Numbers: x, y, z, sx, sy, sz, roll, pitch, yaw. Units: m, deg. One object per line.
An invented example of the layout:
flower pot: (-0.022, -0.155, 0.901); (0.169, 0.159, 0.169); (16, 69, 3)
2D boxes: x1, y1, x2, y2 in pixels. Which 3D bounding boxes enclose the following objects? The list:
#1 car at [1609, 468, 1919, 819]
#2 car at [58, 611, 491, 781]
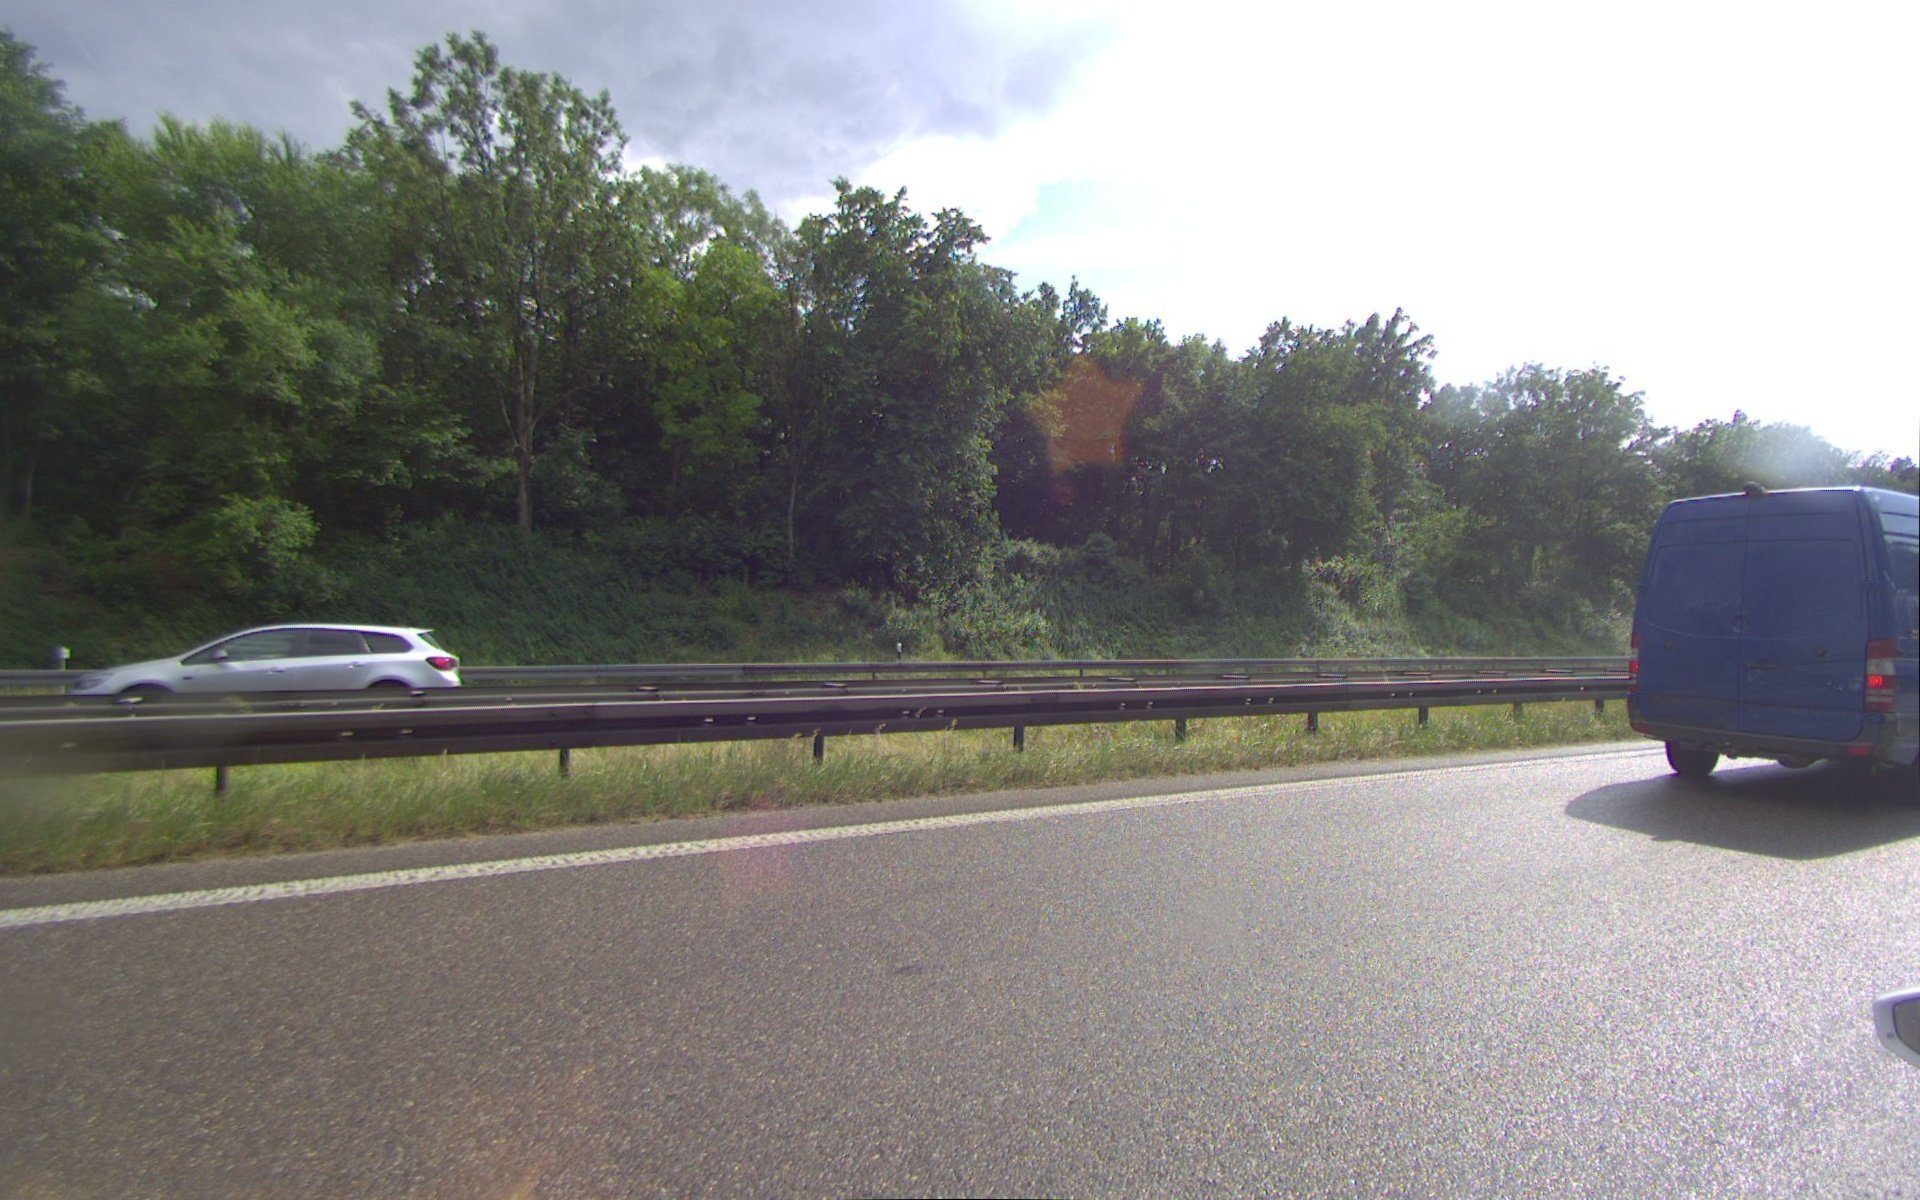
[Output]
car: (9.047, 0.398, 10.011); (5.710, 2.684, 2.005); (2, 0, -31)
car: (-9.391, 1.249, 14.295); (4.750, 2.040, 1.984); (2, 0, -30)
